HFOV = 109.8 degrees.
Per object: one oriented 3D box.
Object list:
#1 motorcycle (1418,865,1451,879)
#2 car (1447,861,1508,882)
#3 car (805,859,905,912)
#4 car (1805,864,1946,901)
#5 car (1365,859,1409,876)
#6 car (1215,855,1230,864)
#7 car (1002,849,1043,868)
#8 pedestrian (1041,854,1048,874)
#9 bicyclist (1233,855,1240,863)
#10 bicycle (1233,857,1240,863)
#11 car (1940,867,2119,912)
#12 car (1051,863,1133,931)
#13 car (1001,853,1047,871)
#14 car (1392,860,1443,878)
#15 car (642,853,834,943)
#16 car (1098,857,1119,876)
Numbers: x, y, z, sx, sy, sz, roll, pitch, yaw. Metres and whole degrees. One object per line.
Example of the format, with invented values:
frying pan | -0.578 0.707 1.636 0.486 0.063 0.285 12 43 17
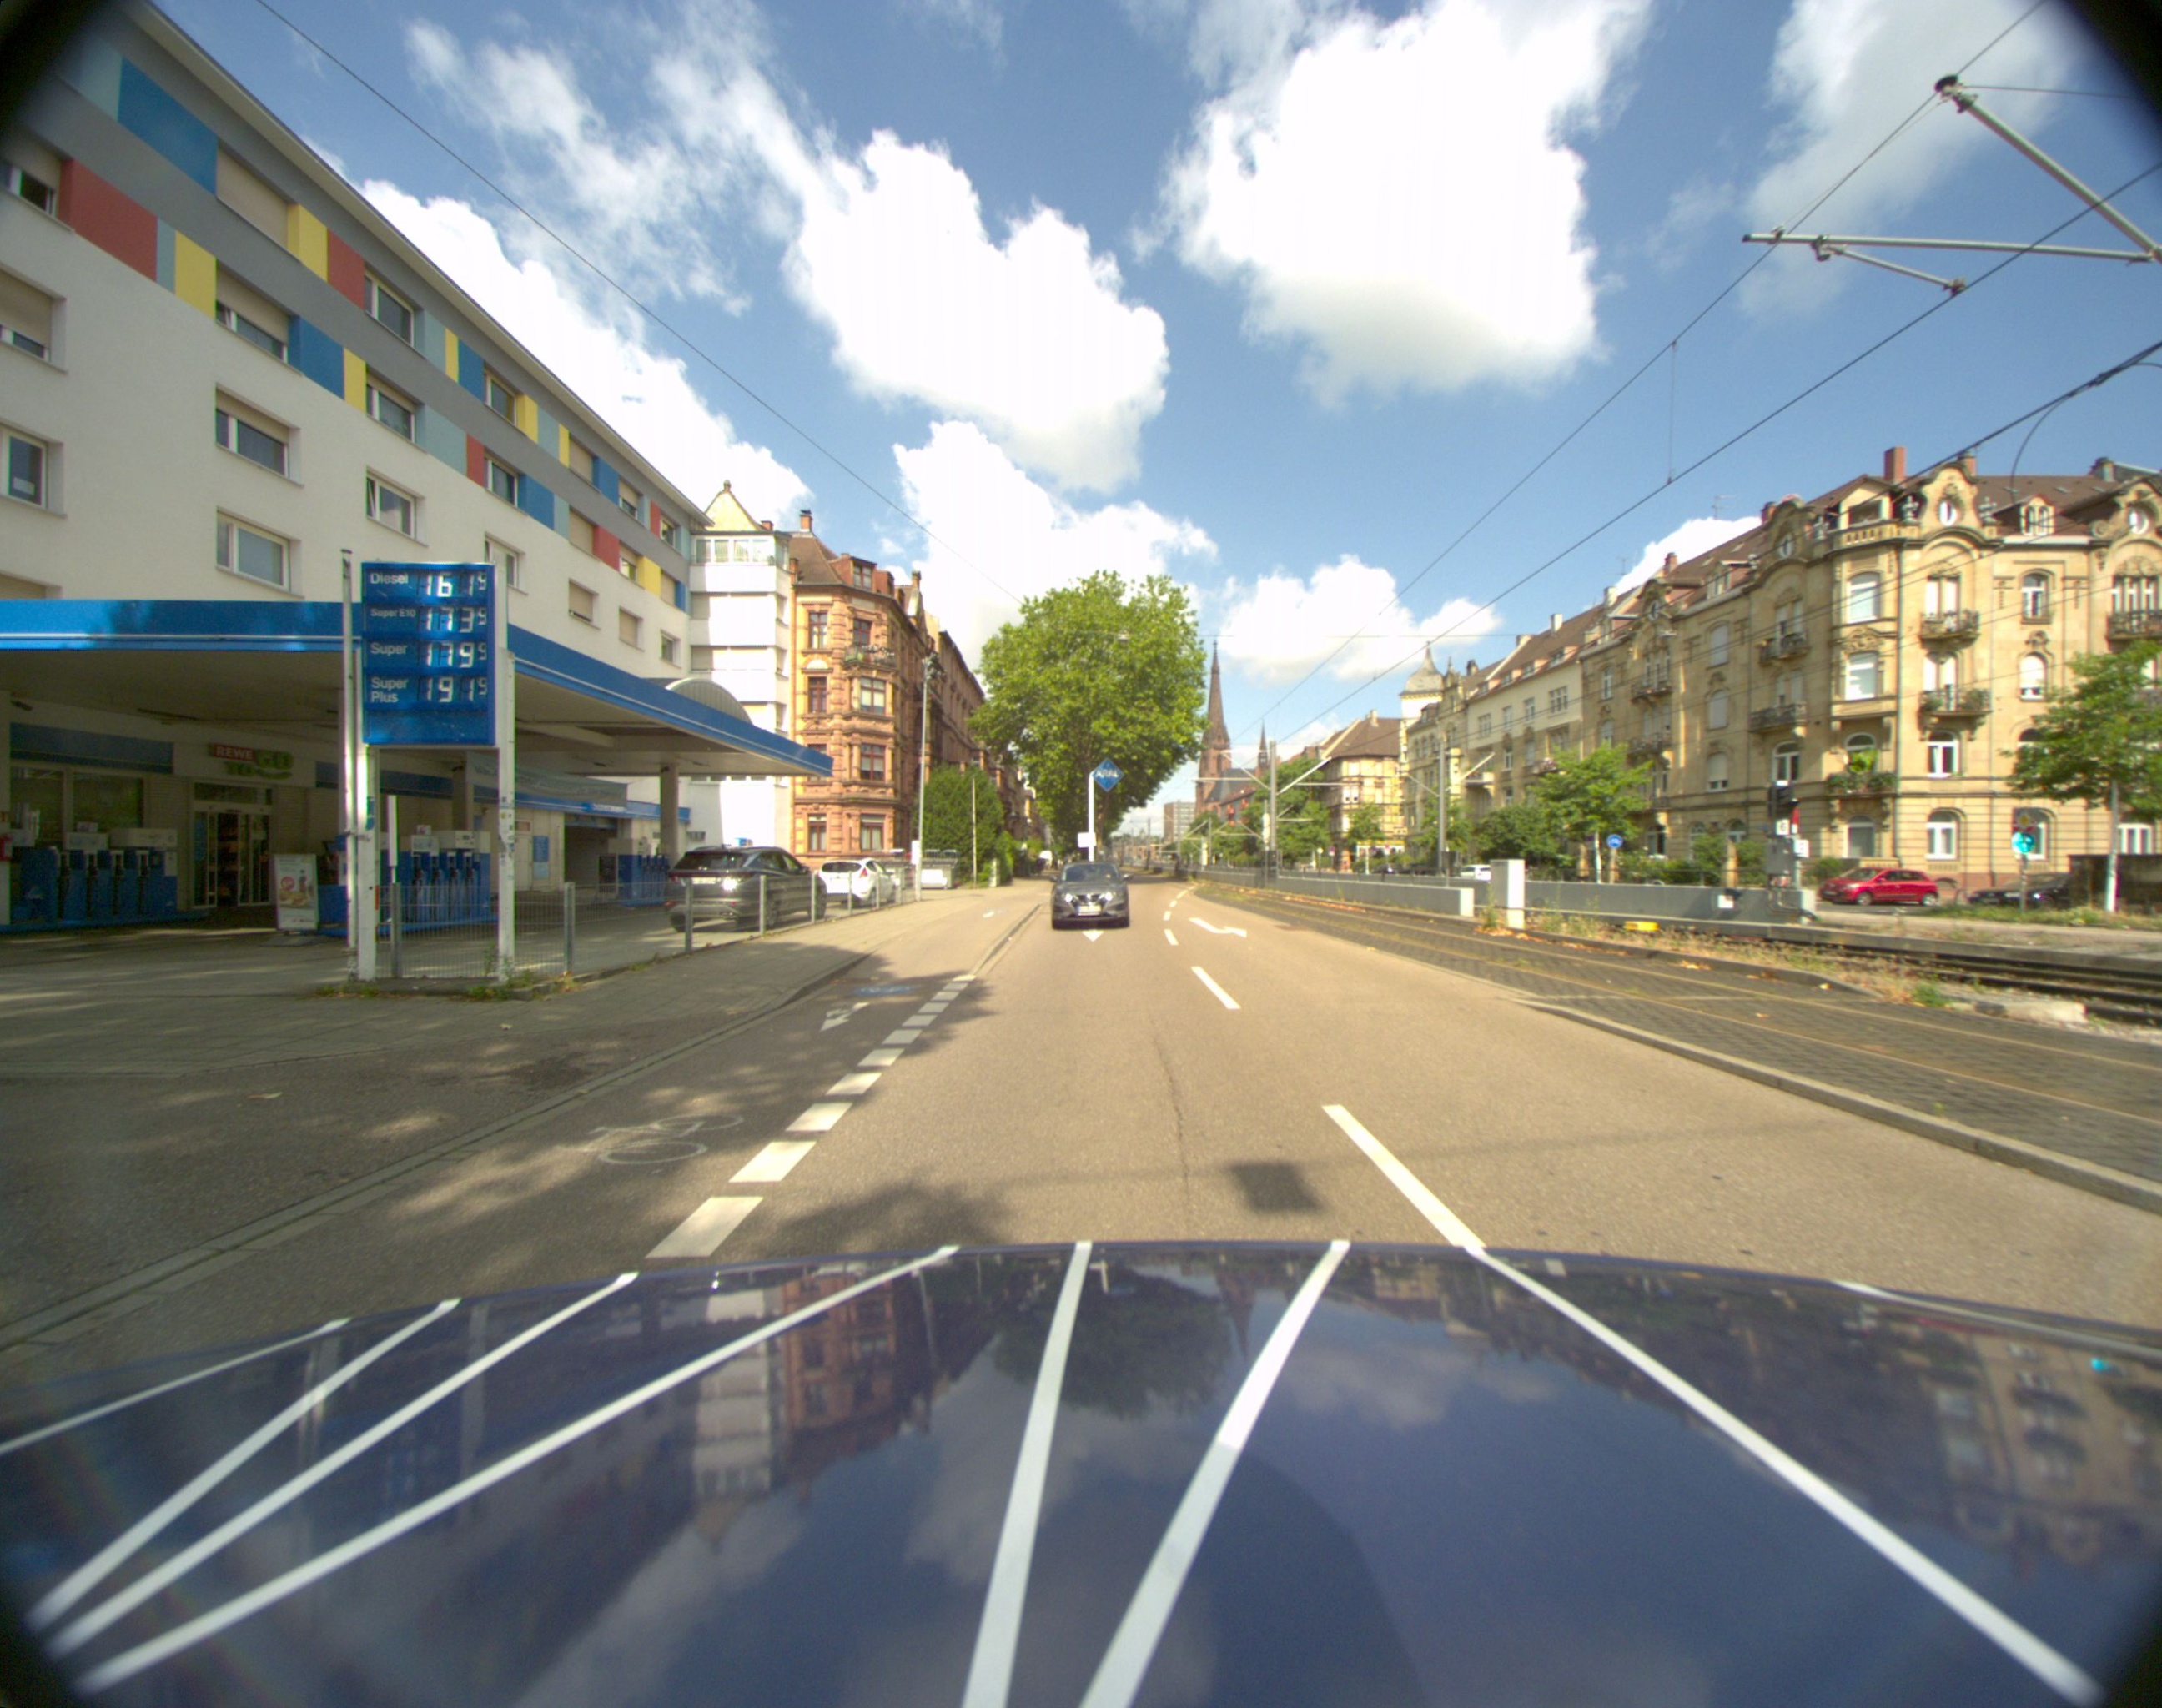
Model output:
motorcycle | 26.452 1.338 56.846 1.765 0.936 1.417 2 0 -1
car | 26.528 1.143 50.993 1.756 1.320 4.312 0 0 -2
car | -6.661 0.879 22.823 1.810 1.447 4.001 0 0 0
car | 33.319 1.164 31.972 3.789 1.455 1.933 0 0 3
car | 26.252 1.138 65.457 1.953 1.319 4.726 0 0 1
car | 26.193 0.942 141.046 1.998 1.628 4.114 0 0 0
car | -6.621 0.505 85.889 4.411 1.927 1.982 3 0 -7
pedestrian | -3.158 0.865 65.505 0.565 1.775 0.630 0 0 0
bicyclist | 24.841 0.798 121.272 0.769 1.330 1.049 2 0 1
bicycle | 24.841 0.993 121.360 0.778 0.973 2.141 2 0 1
car | 32.664 1.209 26.246 3.972 1.455 1.723 0 0 1
car | 0.256 0.972 18.994 1.800 1.454 4.567 0 0 1
car | -6.080 0.826 80.511 4.735 1.772 2.004 -1 0 -8
car | 26.449 1.138 59.872 2.025 1.319 4.100 0 0 -2
car | -6.835 0.791 15.783 1.810 1.593 4.583 0 0 1
car | 2.291 1.048 63.843 1.557 1.476 3.858 2 0 0
